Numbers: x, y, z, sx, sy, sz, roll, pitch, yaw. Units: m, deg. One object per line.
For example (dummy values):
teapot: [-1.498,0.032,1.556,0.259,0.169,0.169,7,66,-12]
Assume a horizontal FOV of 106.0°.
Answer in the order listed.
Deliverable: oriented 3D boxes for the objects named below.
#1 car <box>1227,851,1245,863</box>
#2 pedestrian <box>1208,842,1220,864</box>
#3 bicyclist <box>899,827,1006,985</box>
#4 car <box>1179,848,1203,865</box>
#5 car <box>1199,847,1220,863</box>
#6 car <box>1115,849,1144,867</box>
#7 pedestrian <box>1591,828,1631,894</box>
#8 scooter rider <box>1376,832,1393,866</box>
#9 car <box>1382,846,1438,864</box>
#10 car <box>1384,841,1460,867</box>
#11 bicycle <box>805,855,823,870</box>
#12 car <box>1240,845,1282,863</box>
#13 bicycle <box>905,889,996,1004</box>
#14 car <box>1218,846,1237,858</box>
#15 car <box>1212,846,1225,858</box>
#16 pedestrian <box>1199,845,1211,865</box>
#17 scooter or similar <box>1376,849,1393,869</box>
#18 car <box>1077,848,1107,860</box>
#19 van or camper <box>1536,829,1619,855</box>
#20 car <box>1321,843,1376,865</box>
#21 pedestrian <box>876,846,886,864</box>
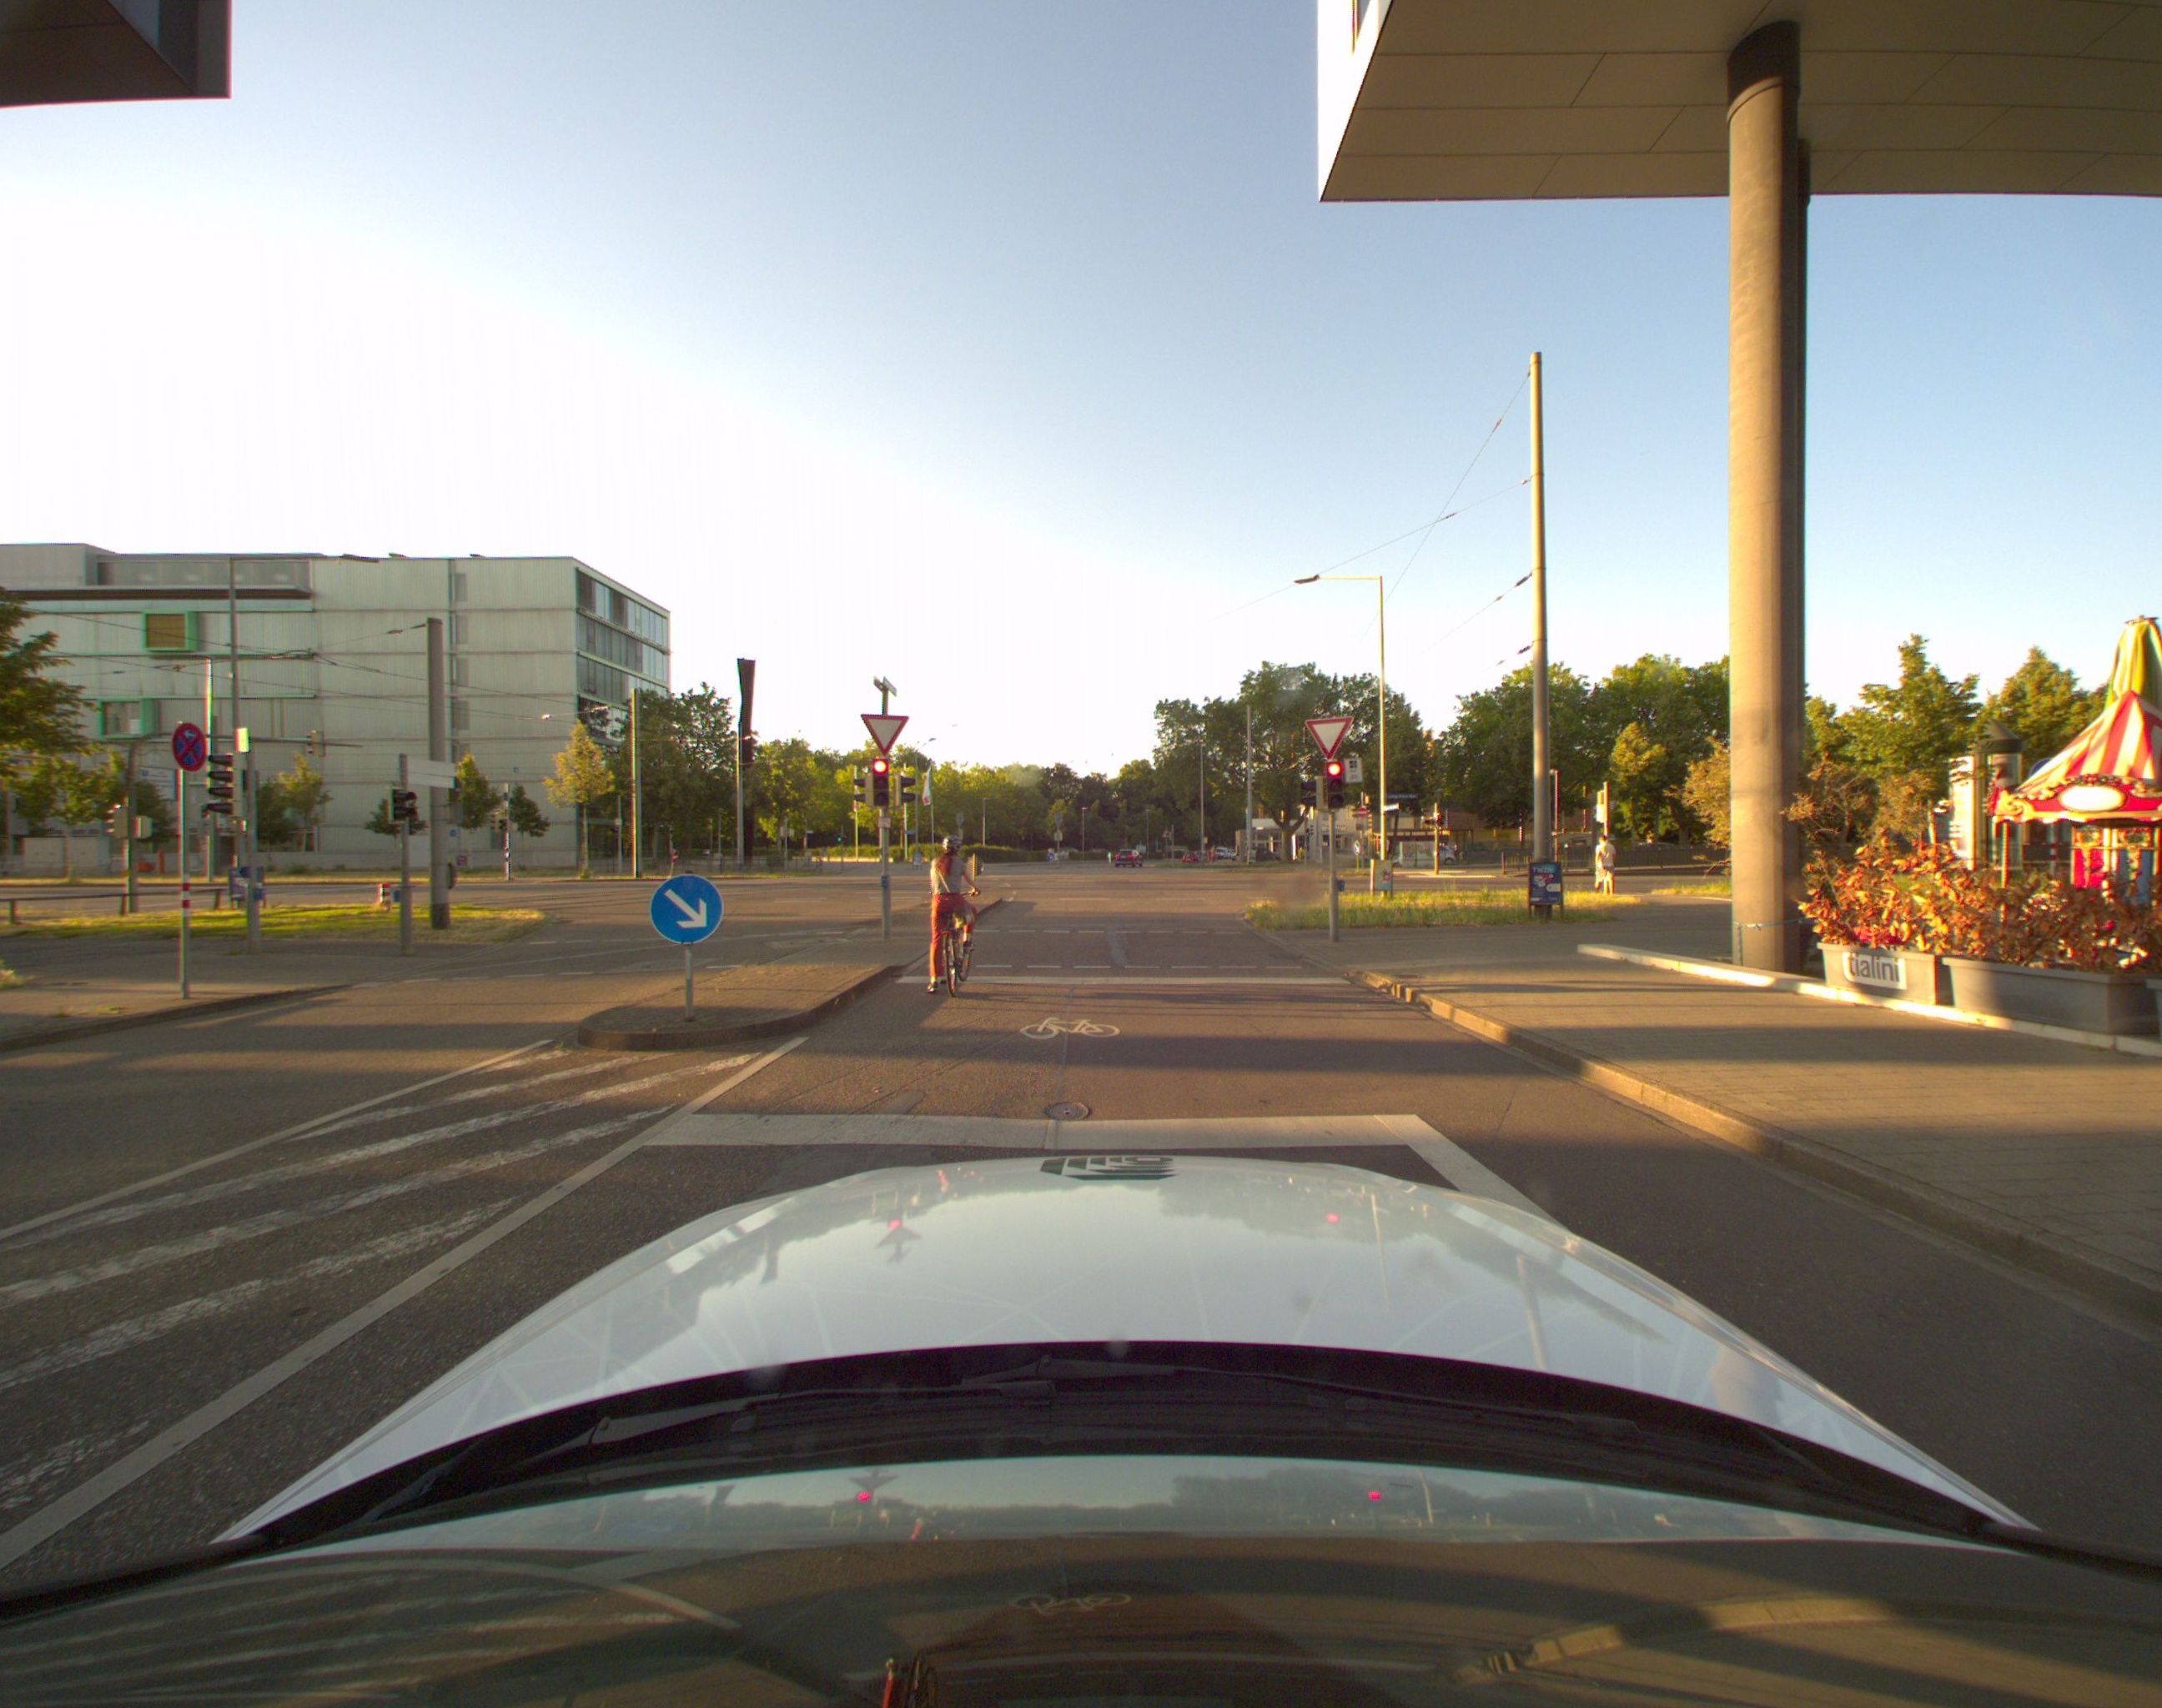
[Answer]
car: [21.914,0.373,115.135,1.899,1.602,4.020,0,0,20]
pedestrian: [11.038,-0.075,67.480,0.712,1.754,0.903,-1,0,26]
bicyclist: [-1.454,0.569,9.429,1.028,1.717,0.996,-1,0,1]
car: [12.915,0.264,95.591,1.852,1.874,3.896,0,0,23]
car: [16.246,0.089,103.132,1.899,2.047,4.020,0,0,20]
car: [4.408,0.382,73.916,1.742,1.541,4.418,-1,-1,15]
pedestrian: [14.705,0.178,22.603,0.755,1.791,0.806,0,0,19]
scooter rider: [17.145,-0.280,46.018,0.699,1.855,0.669,0,-1,1]
car: [28.994,0.074,71.937,4.211,1.577,2.002,-1,0,4]
car: [23.652,-0.018,56.528,4.523,1.728,1.860,-1,0,-3]
bicycle: [-20.756,0.635,63.342,0.697,1.136,2.392,-1,0,-1]
car: [19.578,0.010,88.692,4.354,1.835,1.952,-1,0,6]
bicycle: [-1.447,0.998,9.414,0.632,1.068,2.123,-1,0,2]
car: [24.383,-0.306,135.405,1.975,2.013,4.024,-1,0,27]
car: [22.066,-0.325,130.882,1.982,2.013,4.010,-1,0,9]
pedestrian: [10.369,0.097,68.030,0.712,1.639,0.903,-1,0,26]
scooter or similar: [17.186,0.289,46.093,0.508,1.090,1.243,-1,0,2]
car: [1.477,-0.013,109.697,3.970,1.561,2.002,-1,0,3]
van or camper: [47.934,-1.109,78.753,6.530,2.410,2.268,-1,0,6]
car: [23.653,-0.027,72.092,4.211,1.846,2.002,-1,0,4]
pedestrian: [-19.876,0.113,80.920,0.898,1.754,0.715,-1,0,-24]
